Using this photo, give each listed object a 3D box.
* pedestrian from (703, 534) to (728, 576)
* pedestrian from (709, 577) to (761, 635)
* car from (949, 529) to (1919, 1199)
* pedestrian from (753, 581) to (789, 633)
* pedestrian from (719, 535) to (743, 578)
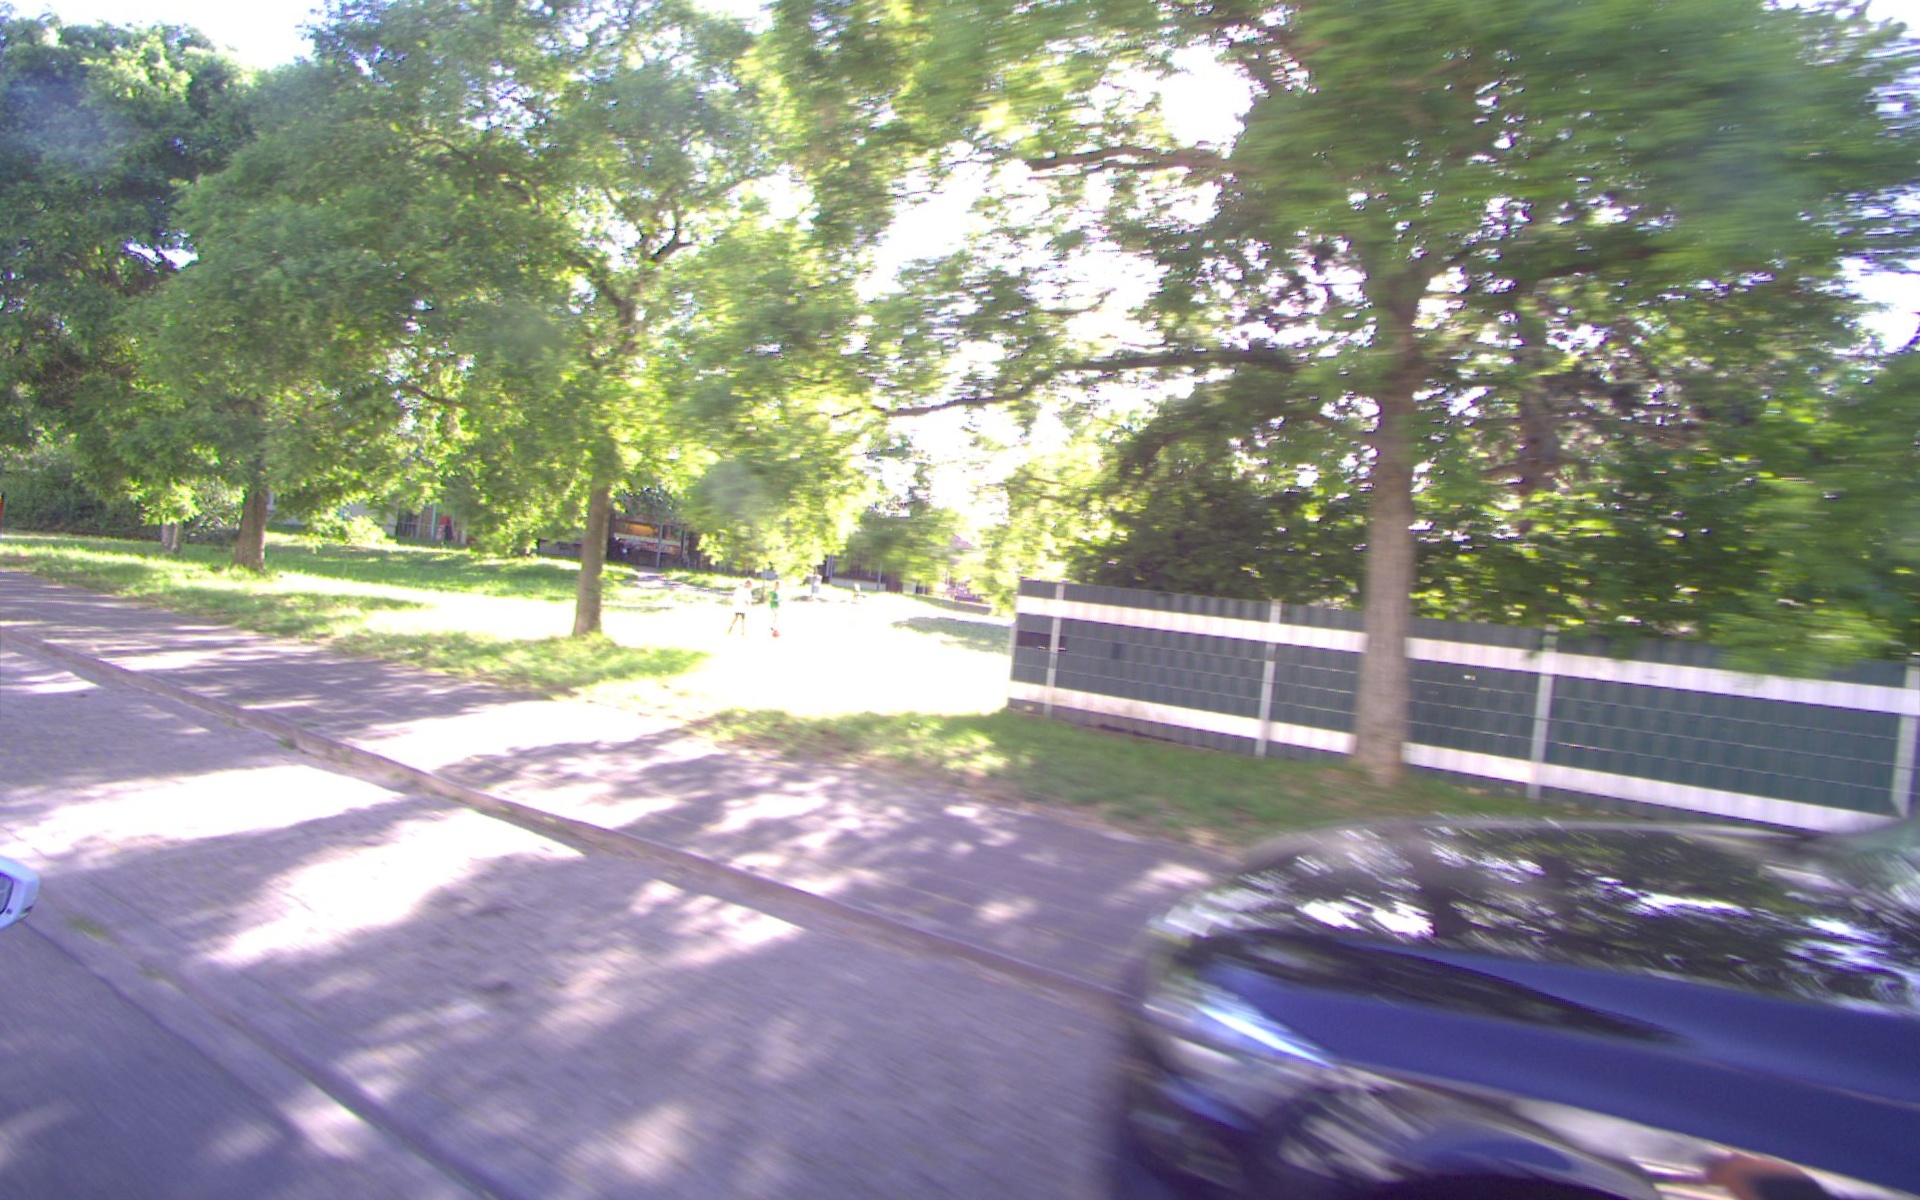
[{"bbox_3d":[-12.281,-2.252,50.449,0.841,2.040,0.636,6,2,18],"label":"pedestrian"},{"bbox_3d":[-4.673,0.128,20.897,0.718,1.103,0.695,4,3,-42],"label":"pedestrian"},{"bbox_3d":[2.419,0.962,1.452,4.458,1.662,1.995,7,2,29],"label":"car"},{"bbox_3d":[-4.289,0.154,22.852,0.498,1.103,0.634,6,2,12],"label":"pedestrian"},{"bbox_3d":[-11.452,-2.164,50.389,0.825,2.040,0.636,6,2,7],"label":"pedestrian"}]
